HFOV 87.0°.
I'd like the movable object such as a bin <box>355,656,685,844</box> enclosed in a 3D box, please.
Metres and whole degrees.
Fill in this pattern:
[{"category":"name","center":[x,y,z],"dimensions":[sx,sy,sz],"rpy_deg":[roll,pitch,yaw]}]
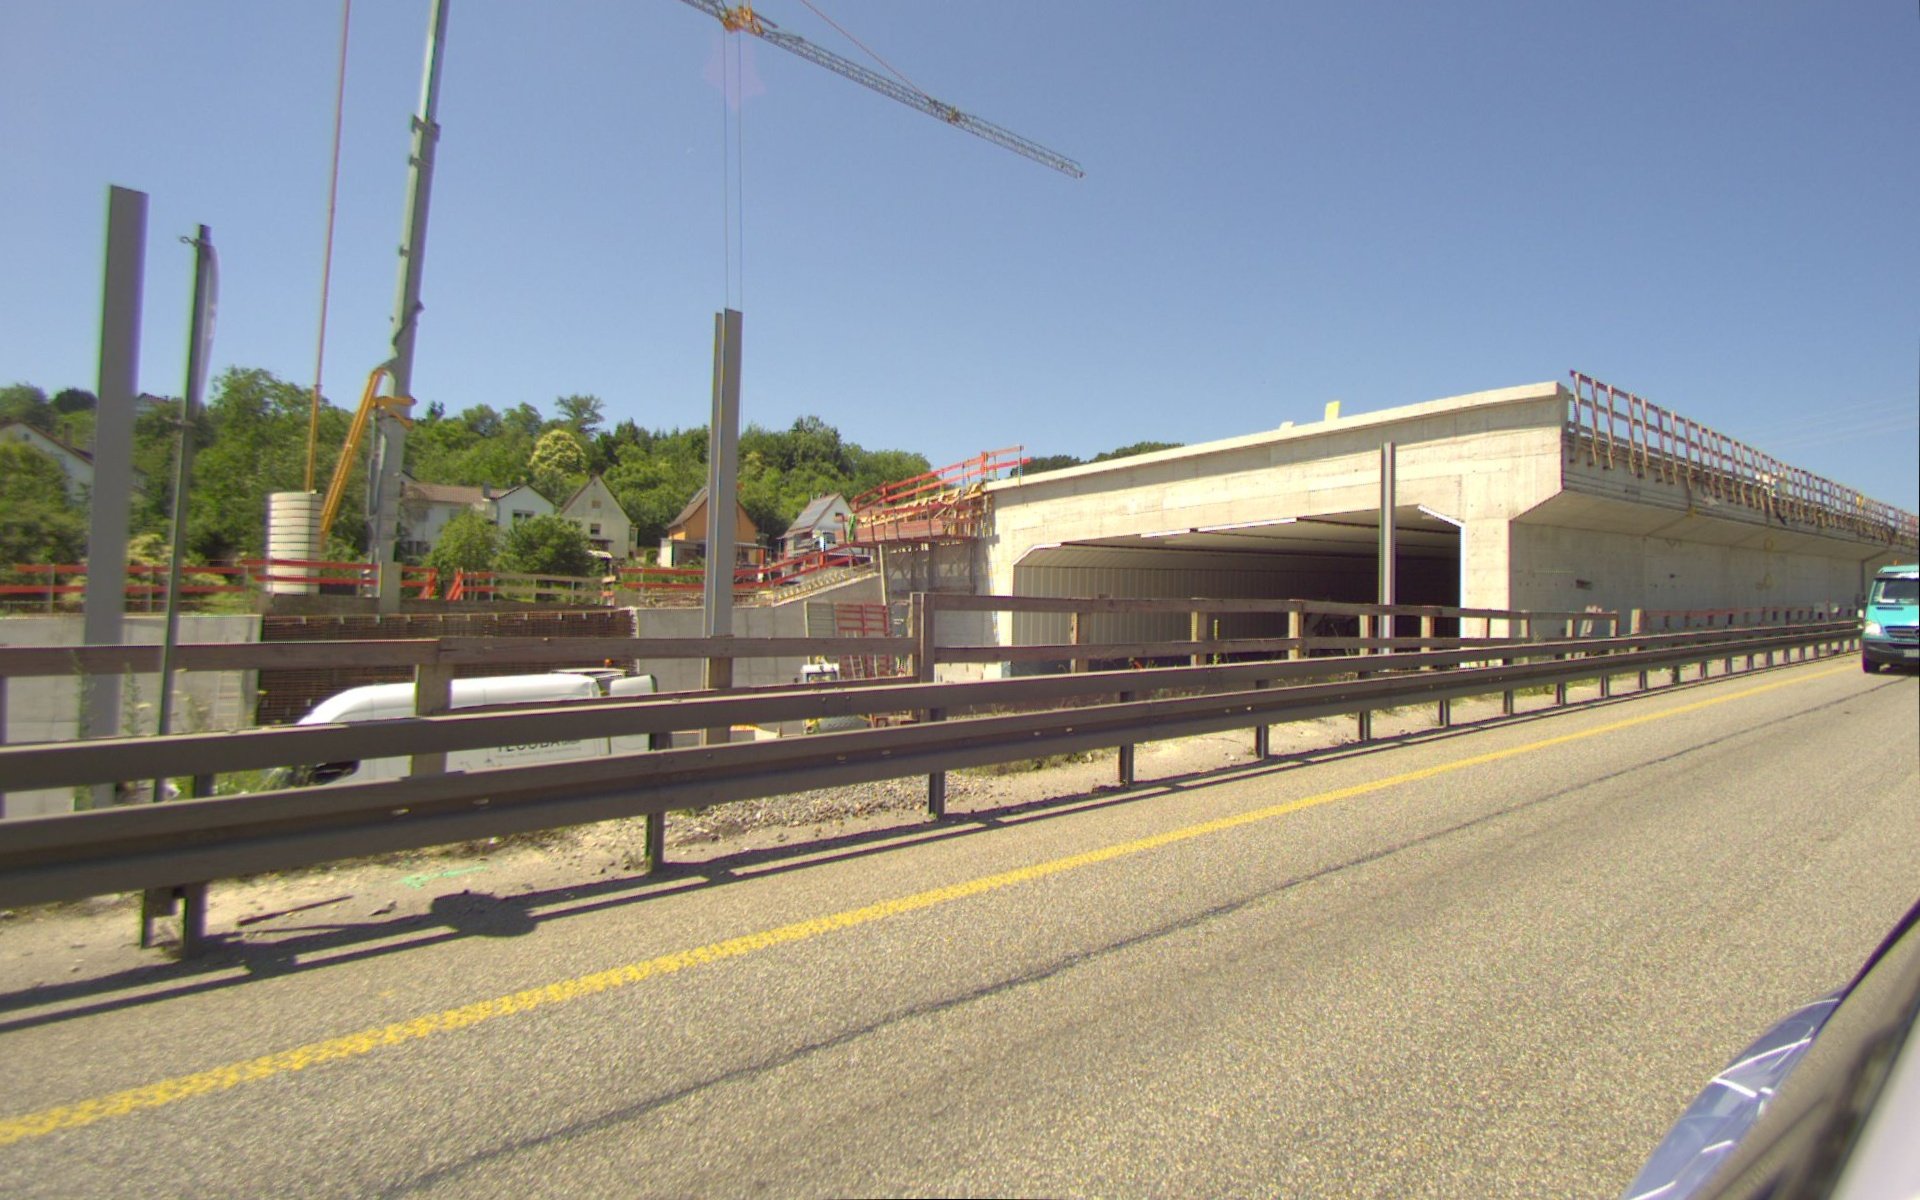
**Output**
[{"category":"movable object such as a bin","center":[-8.245,2.622,19.255],"dimensions":[5.398,2.710,2.151],"rpy_deg":[-2,1,-37]}]

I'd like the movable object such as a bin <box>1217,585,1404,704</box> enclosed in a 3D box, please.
[{"category":"movable object such as a bin","center":[14.048,1.515,40.038],"dimensions":[8.998,4.113,2.958],"rpy_deg":[-2,1,-41]}]

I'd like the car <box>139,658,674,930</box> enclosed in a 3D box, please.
[{"category":"car","center":[-8.166,2.607,15.634],"dimensions":[6.894,2.891,2.151],"rpy_deg":[-2,1,-37]}]

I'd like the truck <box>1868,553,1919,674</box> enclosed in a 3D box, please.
[{"category":"truck","center":[21.947,0.179,22.148],"dimensions":[7.303,2.386,2.138],"rpy_deg":[-2,1,-40]}]

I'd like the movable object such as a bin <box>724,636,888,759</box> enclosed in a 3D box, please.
[{"category":"movable object such as a bin","center":[-4.667,2.939,29.092],"dimensions":[3.425,2.941,7.159],"rpy_deg":[-1,-8,-18]}]
